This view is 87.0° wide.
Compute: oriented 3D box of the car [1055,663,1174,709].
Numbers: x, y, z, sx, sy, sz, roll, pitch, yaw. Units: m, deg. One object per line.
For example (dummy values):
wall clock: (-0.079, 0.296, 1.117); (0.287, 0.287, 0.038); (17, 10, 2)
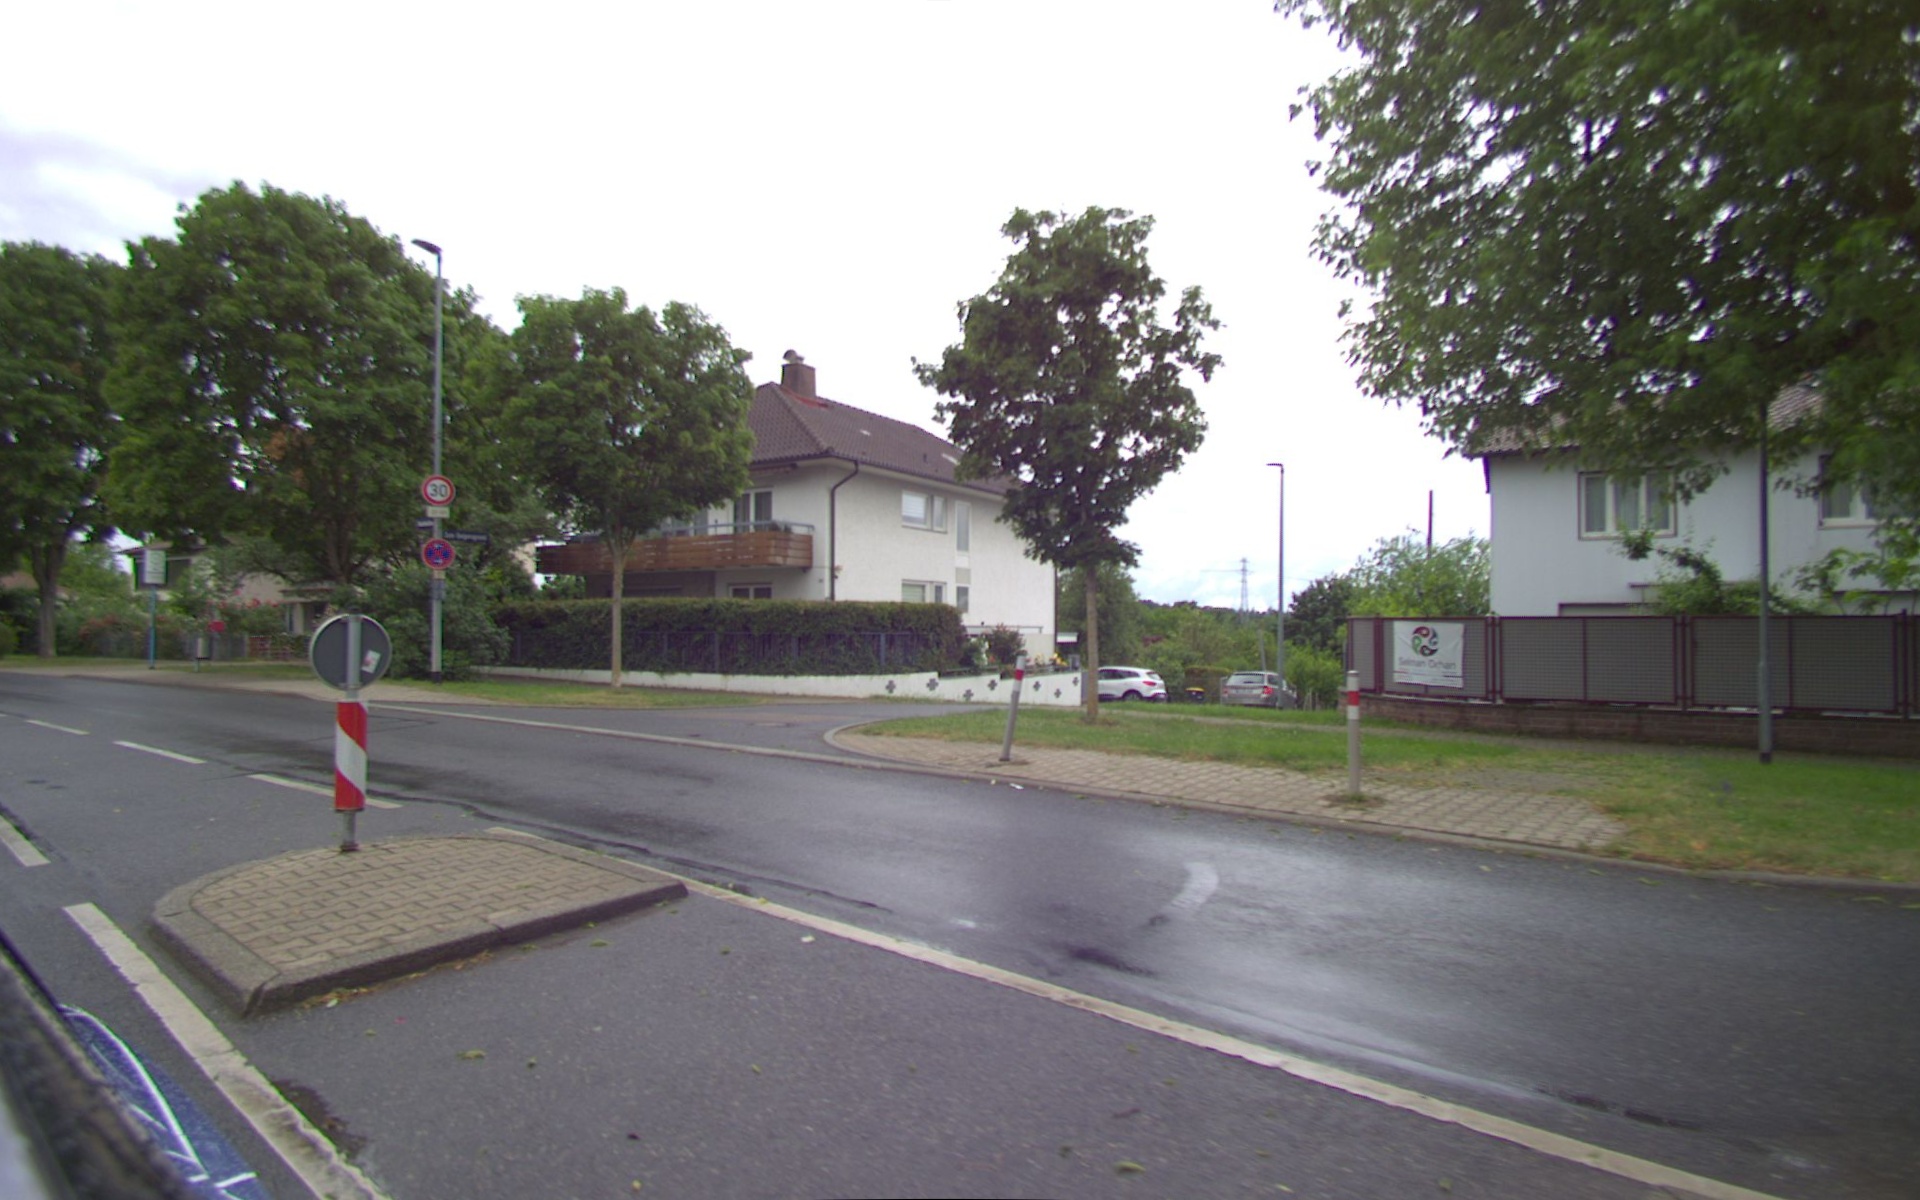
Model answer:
car: (5.835, 3.210, 38.347); (4.036, 1.519, 1.978); (-1, -2, 32)

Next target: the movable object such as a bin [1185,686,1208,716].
movable object such as a bin: (8.253, 3.529, 35.321); (0.651, 0.987, 0.584); (-1, -2, 34)

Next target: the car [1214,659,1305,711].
car: (9.815, 2.719, 33.033); (1.841, 1.498, 3.955); (-1, -3, 33)
